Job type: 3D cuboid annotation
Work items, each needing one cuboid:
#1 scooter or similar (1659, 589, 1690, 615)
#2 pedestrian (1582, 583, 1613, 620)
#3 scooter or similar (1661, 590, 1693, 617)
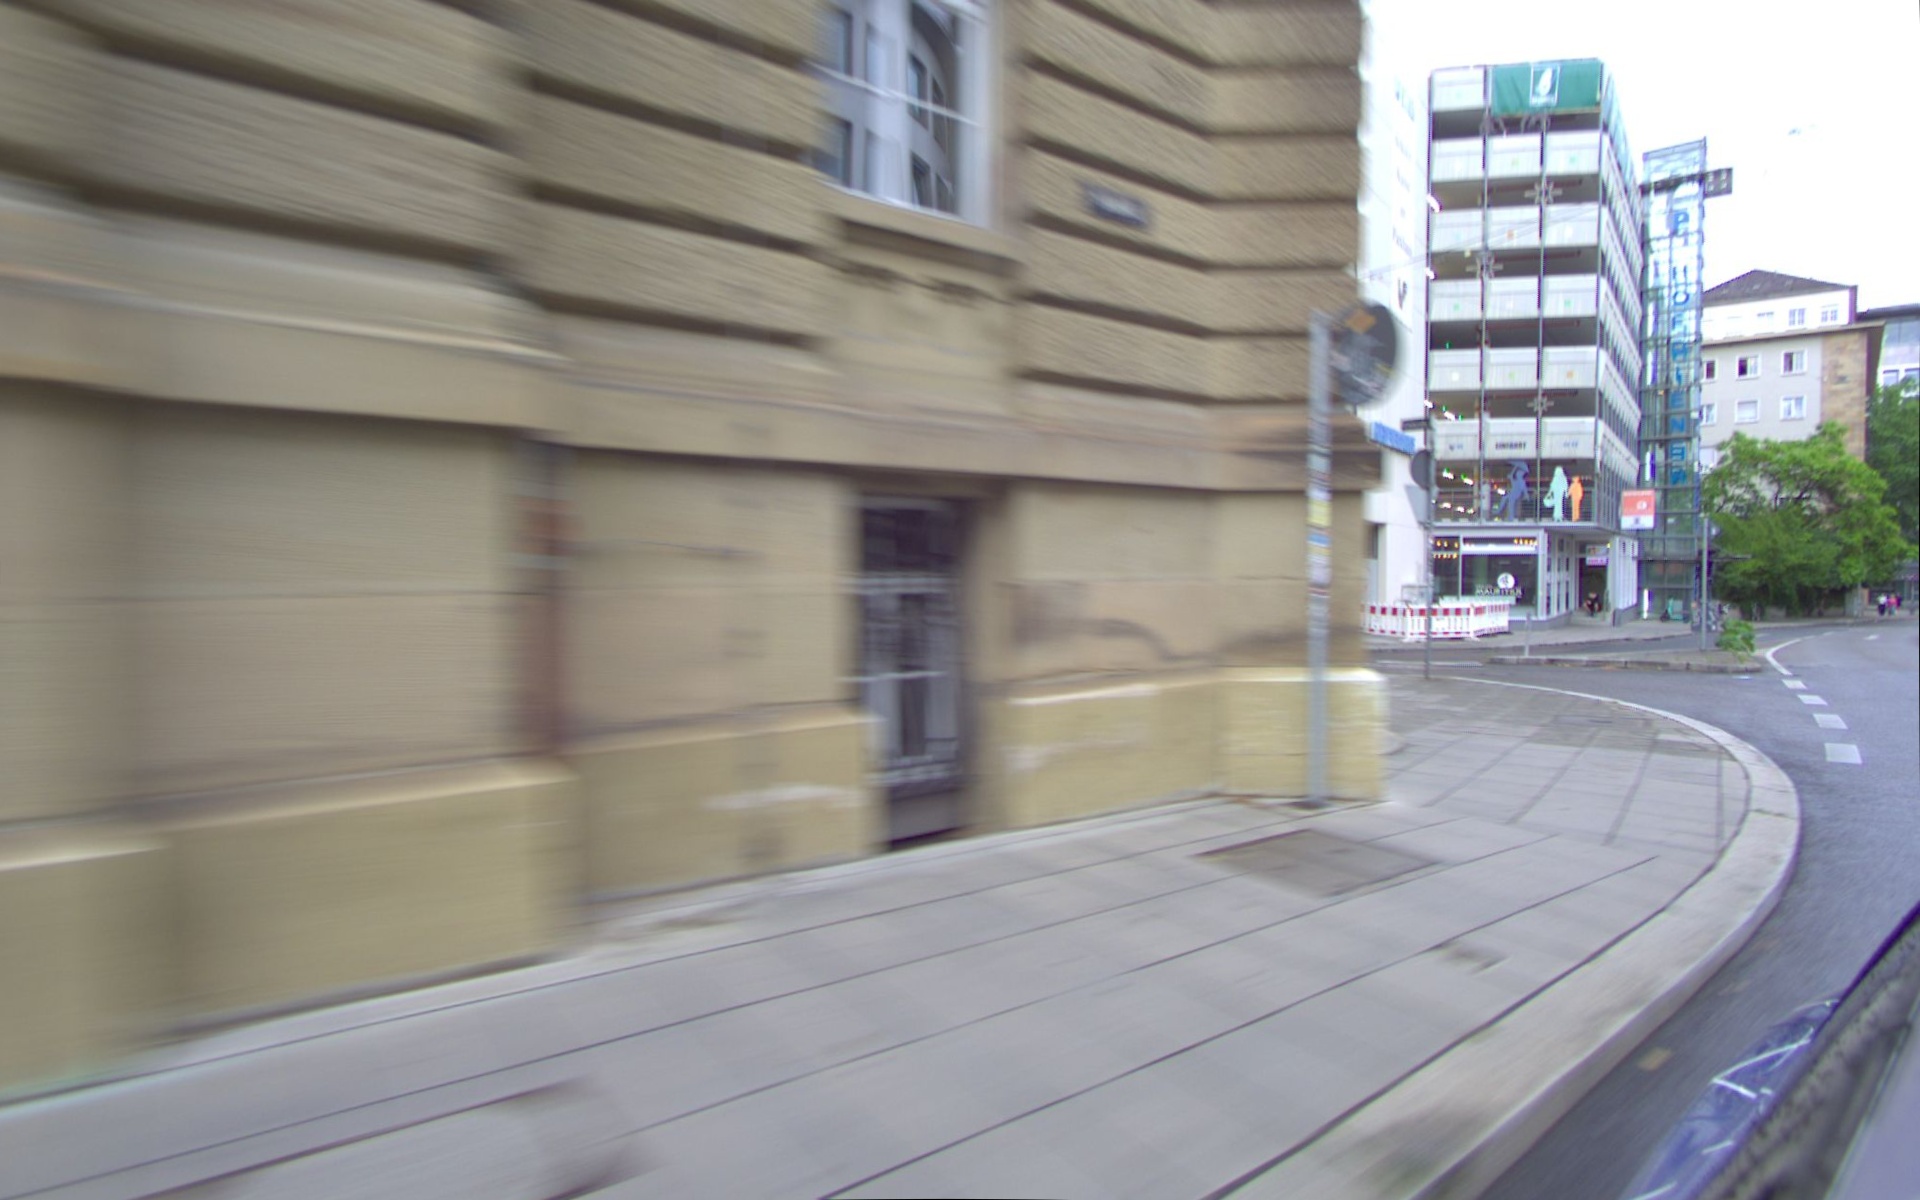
[{"bbox_3d":[33.891,0.081,47.985,1.062,1.188,0.463,2,1,17],"label":"scooter or similar"},{"bbox_3d":[25.429,0.044,40.371,0.900,1.400,1.018,4,3,38],"label":"pedestrian"},{"bbox_3d":[32.955,0.148,46.491,1.062,1.188,0.463,2,1,17],"label":"scooter or similar"}]
